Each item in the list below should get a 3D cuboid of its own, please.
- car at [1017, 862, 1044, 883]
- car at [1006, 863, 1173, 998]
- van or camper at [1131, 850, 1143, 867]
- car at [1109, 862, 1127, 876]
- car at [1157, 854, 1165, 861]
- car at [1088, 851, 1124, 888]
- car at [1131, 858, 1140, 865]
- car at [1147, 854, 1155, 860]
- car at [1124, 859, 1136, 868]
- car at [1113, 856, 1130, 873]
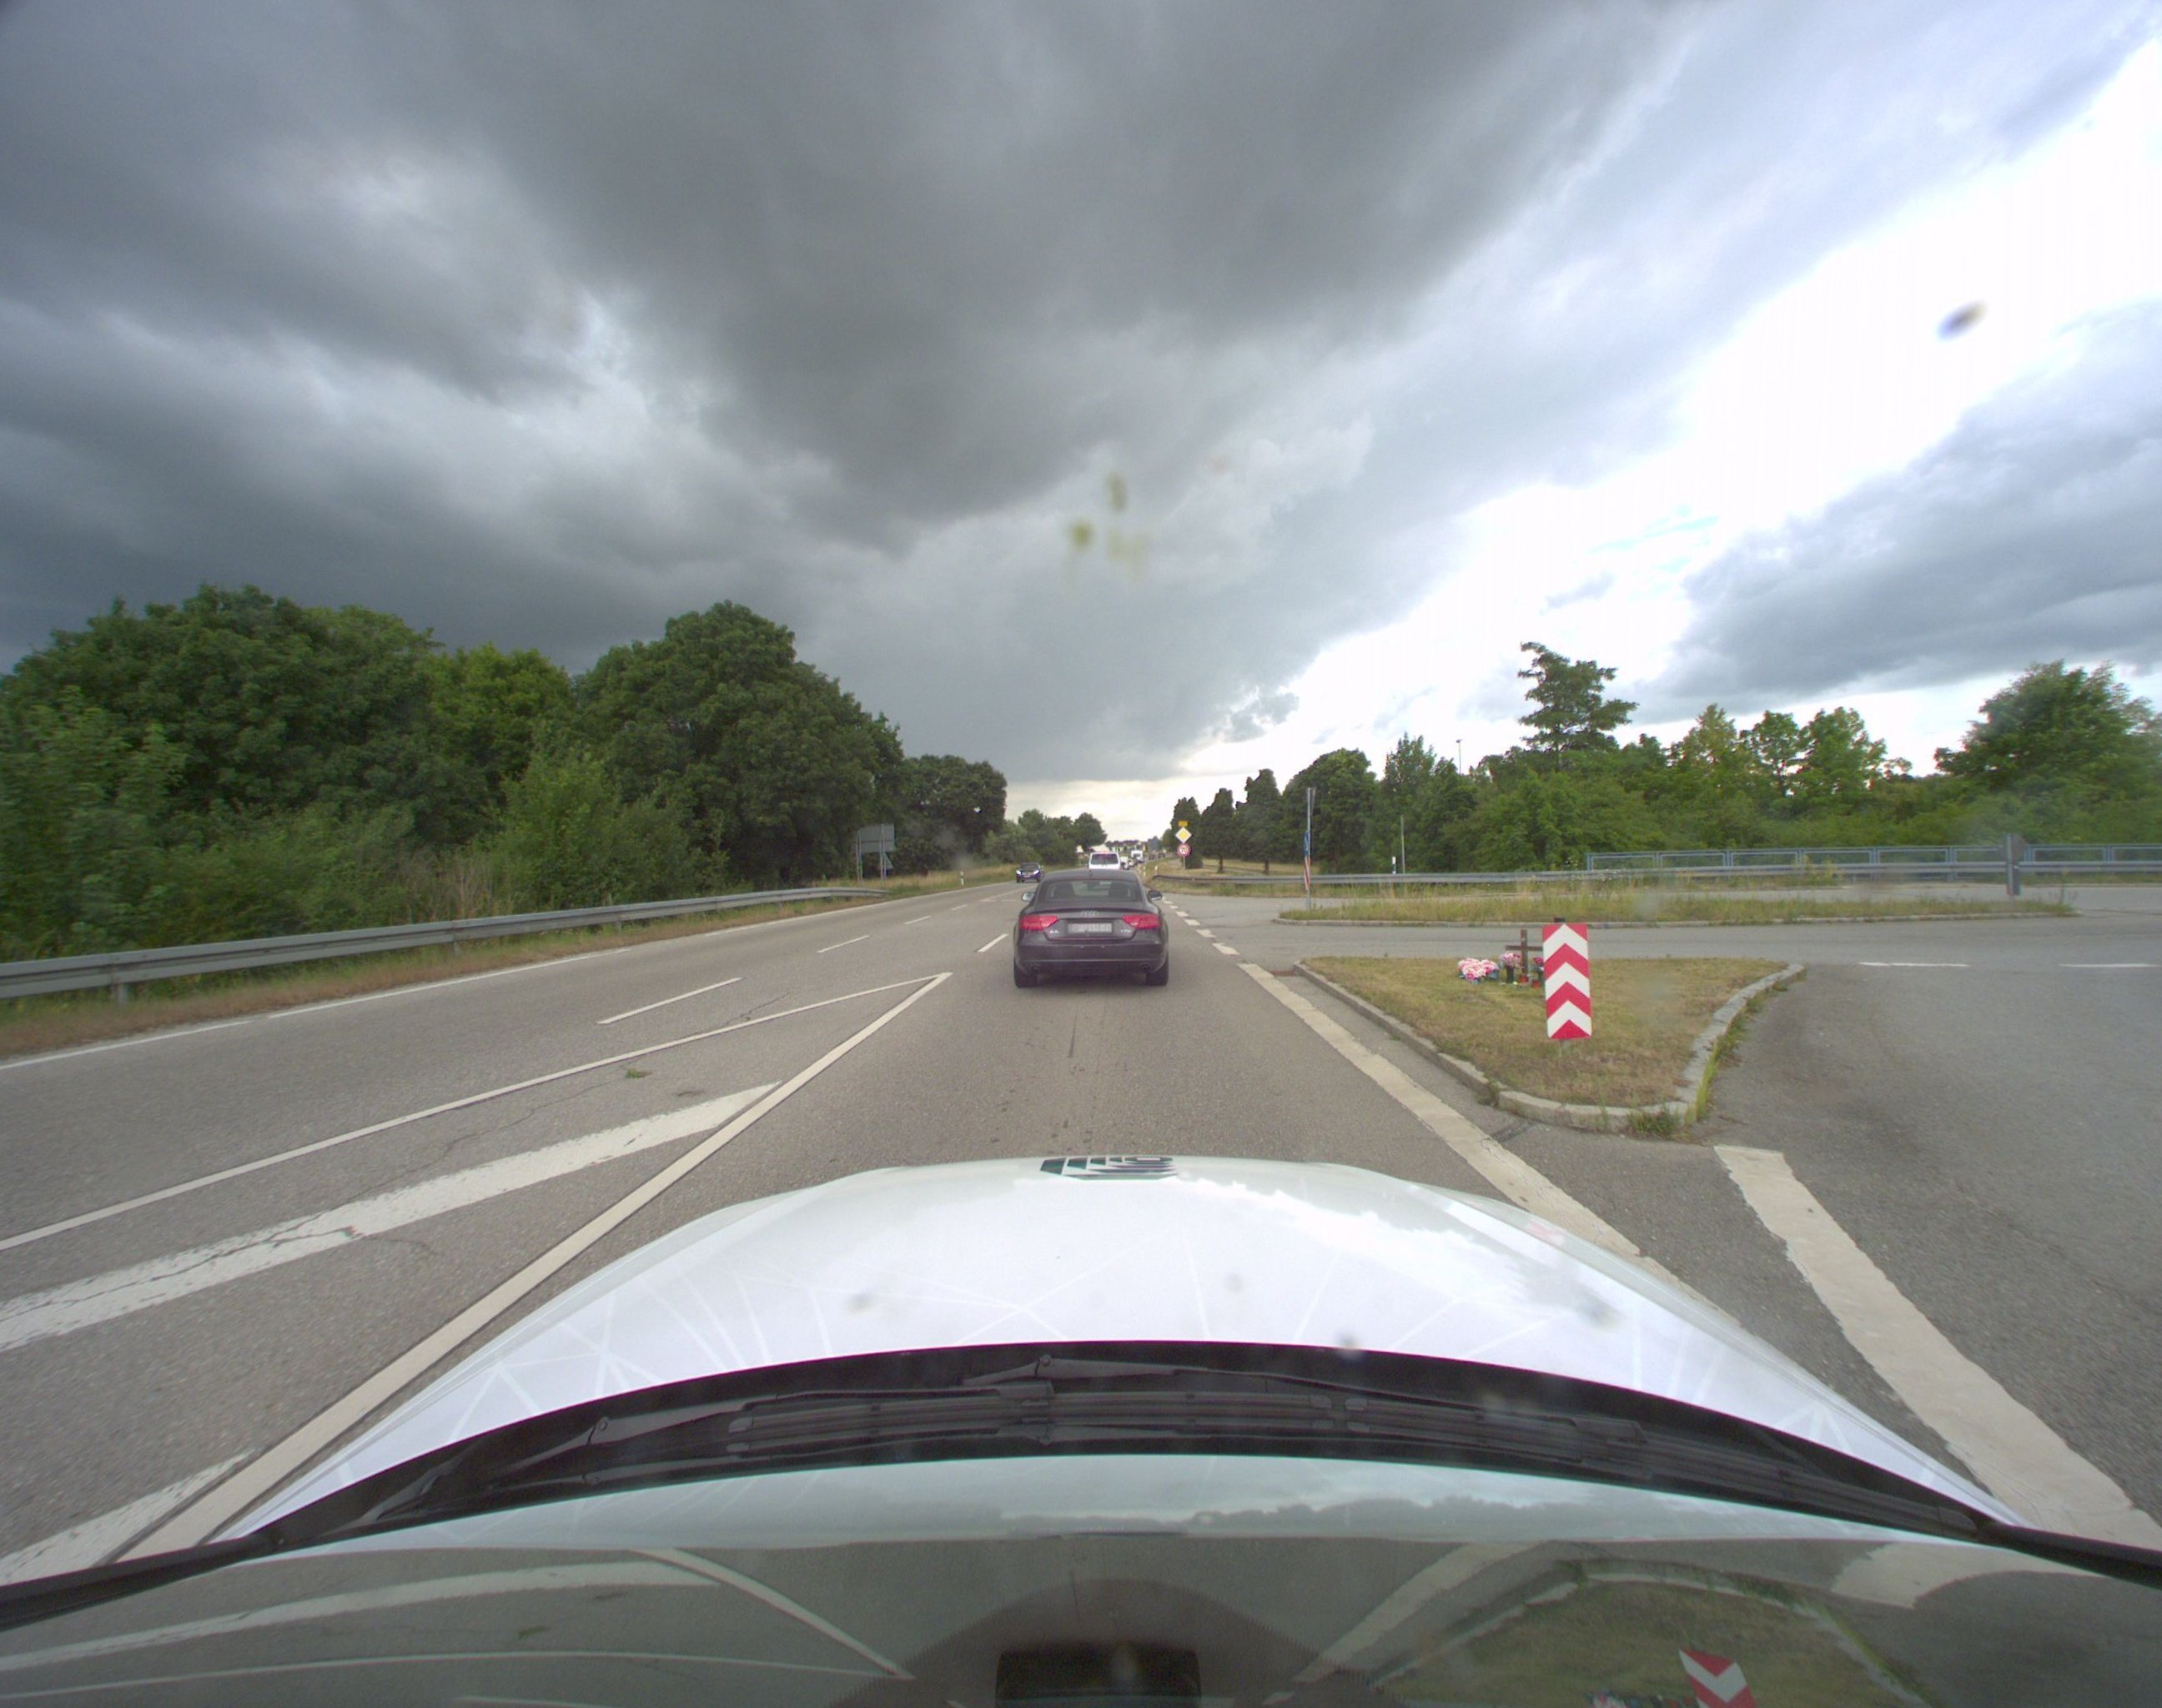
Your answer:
[{"bbox_3d":[-3.869,1.381,62.715,1.704,1.523,4.002,-1,0,2],"label":"car"},{"bbox_3d":[0.149,0.840,10.688,1.776,1.376,4.002,0,0,2],"label":"car"},{"bbox_3d":[11.687,0.896,169.195,2.330,3.481,5.724,-1,-1,4],"label":"van or camper"},{"bbox_3d":[4.020,1.586,88.630,1.787,1.464,3.253,-1,-1,5],"label":"car"},{"bbox_3d":[23.039,1.075,235.080,1.986,2.014,4.001,-1,-1,1],"label":"car"},{"bbox_3d":[1.338,0.781,43.773,1.832,1.882,4.001,0,0,2],"label":"car"},{"bbox_3d":[10.094,1.377,150.989,1.251,1.353,3.473,-1,-1,8],"label":"car"},{"bbox_3d":[17.967,0.757,208.913,1.712,1.451,4.003,0,0,3],"label":"car"},{"bbox_3d":[8.259,1.595,136.093,1.726,1.514,3.754,-1,-1,8],"label":"car"},{"bbox_3d":[5.274,1.328,104.734,1.984,2.088,4.005,-1,-1,4],"label":"car"}]
